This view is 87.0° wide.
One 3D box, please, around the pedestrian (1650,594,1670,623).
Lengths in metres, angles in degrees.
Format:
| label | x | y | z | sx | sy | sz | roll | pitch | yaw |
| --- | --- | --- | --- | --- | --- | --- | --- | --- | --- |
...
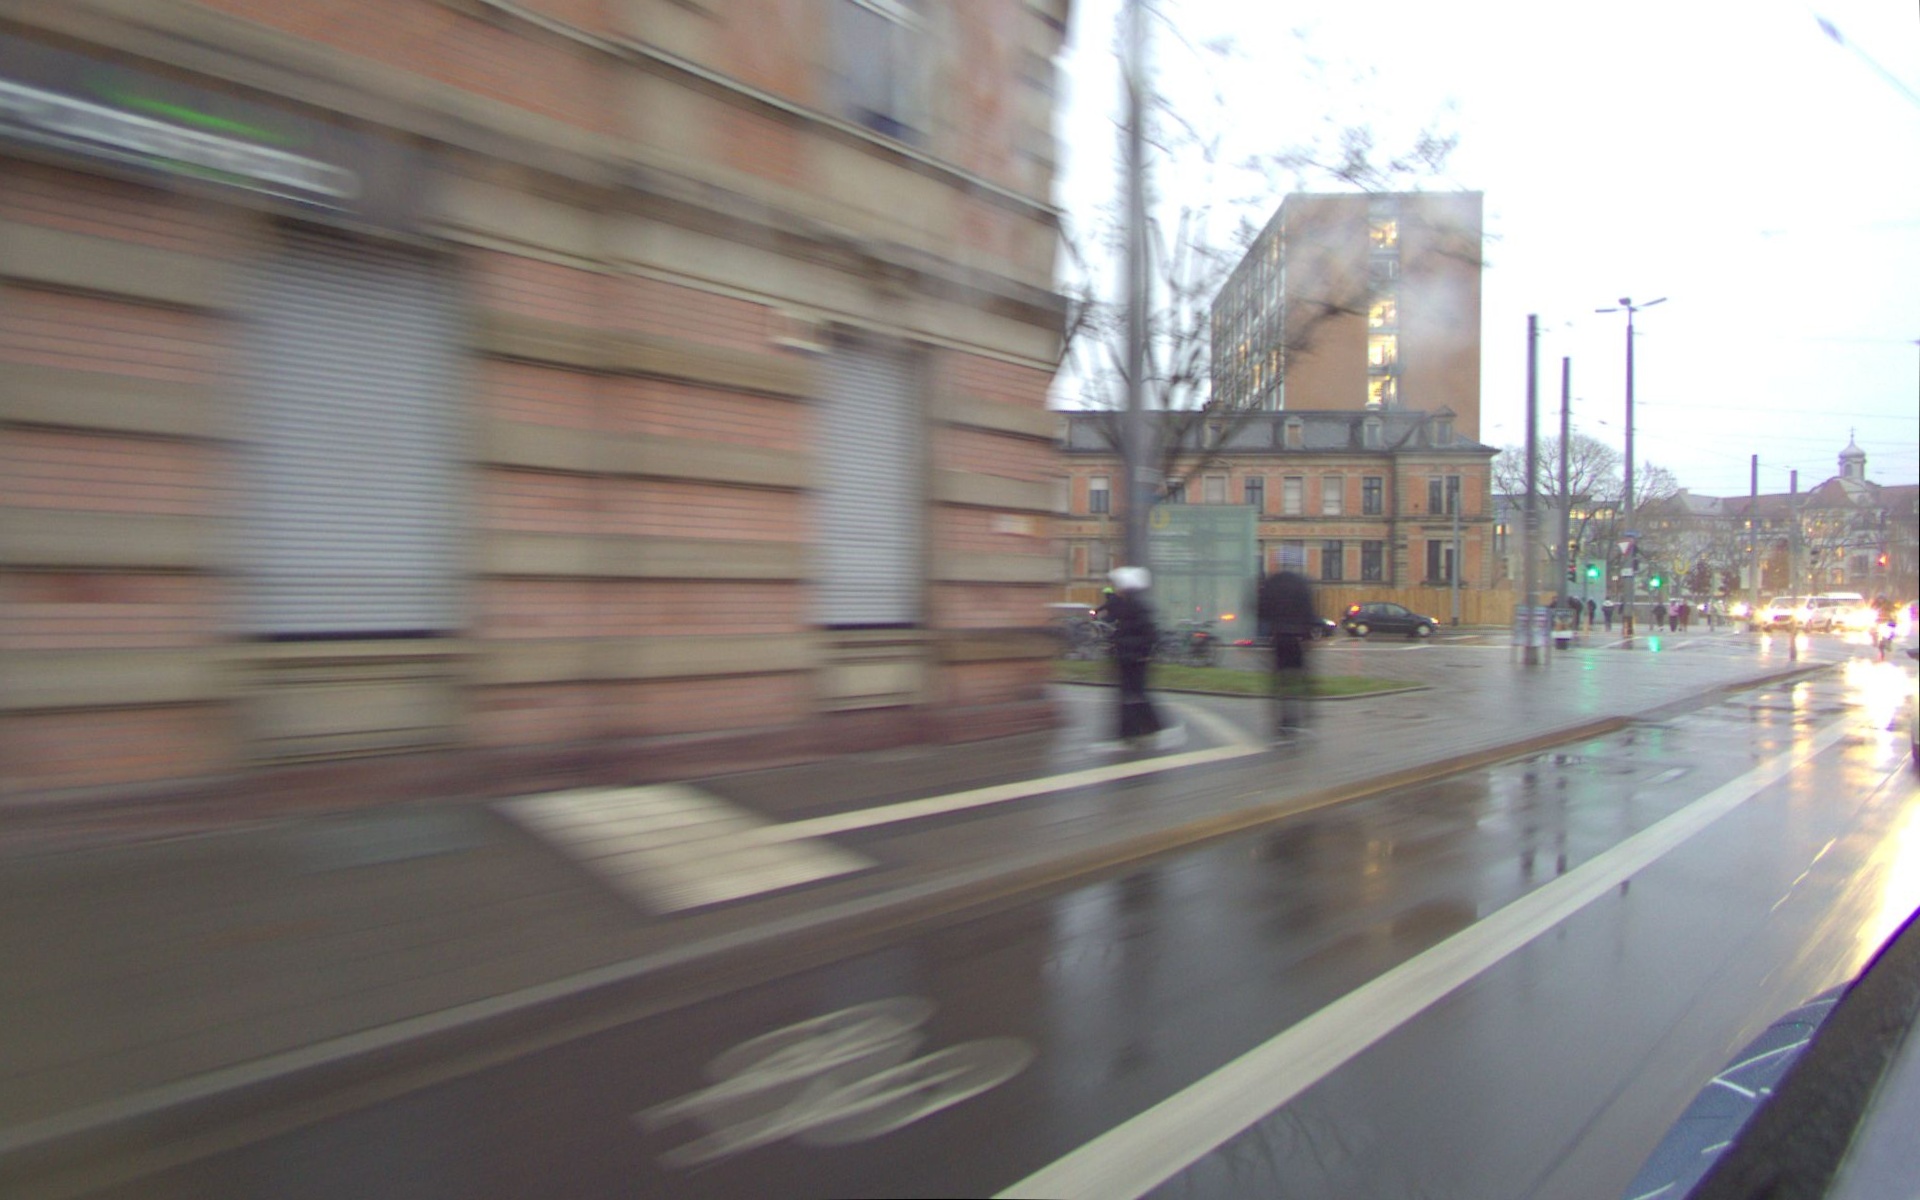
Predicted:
| label | x | y | z | sx | sy | sz | roll | pitch | yaw |
| --- | --- | --- | --- | --- | --- | --- | --- | --- | --- |
| pedestrian | 39.345 | 0.467 | 56.911 | 0.699 | 1.640 | 0.745 | 0 | 0 | 15 |

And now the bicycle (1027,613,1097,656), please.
| label | x | y | z | sx | sy | sz | roll | pitch | yaw |
| --- | --- | --- | --- | --- | --- | --- | --- | --- | --- |
| bicycle | 2.458 | 0.812 | 24.238 | 1.909 | 0.965 | 0.455 | 0 | 0 | -40 |

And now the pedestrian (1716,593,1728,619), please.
| label | x | y | z | sx | sy | sz | roll | pitch | yaw |
| --- | --- | --- | --- | --- | --- | --- | --- | --- | --- |
| pedestrian | 52.345 | 0.395 | 69.517 | 0.634 | 1.784 | 0.504 | 0 | 0 | 36 |

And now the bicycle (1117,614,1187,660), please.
| label | x | y | z | sx | sy | sz | roll | pitch | yaw |
| --- | --- | --- | --- | --- | --- | --- | --- | --- | --- |
| bicycle | 4.319 | 0.813 | 22.685 | 1.909 | 0.965 | 0.455 | 0 | 0 | -40 |

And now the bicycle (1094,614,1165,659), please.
| label | x | y | z | sx | sy | sz | roll | pitch | yaw |
| --- | --- | --- | --- | --- | --- | --- | --- | --- | --- |
| bicycle | 3.855 | 0.814 | 22.961 | 1.909 | 0.965 | 0.455 | 0 | 0 | -40 |

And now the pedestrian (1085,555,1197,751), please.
| label | x | y | z | sx | sy | sz | roll | pitch | yaw |
| --- | --- | --- | --- | --- | --- | --- | --- | --- | --- |
| pedestrian | 1.525 | 0.418 | 8.544 | 0.698 | 1.568 | 0.633 | 0 | 0 | -39 |

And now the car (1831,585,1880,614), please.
| label | x | y | z | sx | sy | sz | roll | pitch | yaw |
| --- | --- | --- | --- | --- | --- | --- | --- | --- | --- |
| car | 59.995 | -0.057 | 67.876 | 2.006 | 1.842 | 3.642 | 0 | 0 | 35 |

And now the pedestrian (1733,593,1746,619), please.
| label | x | y | z | sx | sy | sz | roll | pitch | yaw |
| --- | --- | --- | --- | --- | --- | --- | --- | --- | --- |
| pedestrian | 53.121 | 0.395 | 68.974 | 0.634 | 1.784 | 0.504 | 0 | 0 | 36 |

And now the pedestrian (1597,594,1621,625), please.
| label | x | y | z | sx | sy | sz | roll | pitch | yaw |
| --- | --- | --- | --- | --- | --- | --- | --- | --- | --- |
| pedestrian | 34.568 | 0.499 | 53.894 | 0.866 | 1.640 | 0.745 | 0 | 0 | 15 |

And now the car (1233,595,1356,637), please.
| label | x | y | z | sx | sy | sz | roll | pitch | yaw |
| --- | --- | --- | --- | --- | --- | --- | --- | --- | --- |
| car | 13.217 | 0.605 | 40.208 | 4.312 | 1.608 | 1.887 | 0 | 0 | 6 |

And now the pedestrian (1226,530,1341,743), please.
| label | x | y | z | sx | sy | sz | roll | pitch | yaw |
| --- | --- | --- | --- | --- | --- | --- | --- | --- | --- |
| pedestrian | 2.965 | 0.311 | 9.300 | 0.698 | 1.848 | 0.753 | 0 | 0 | -39 |

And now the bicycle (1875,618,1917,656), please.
| label | x | y | z | sx | sy | sz | roll | pitch | yaw |
| --- | --- | --- | --- | --- | --- | --- | --- | --- | --- |
| bicycle | 27.146 | 1.058 | 29.333 | 2.175 | 1.003 | 0.724 | 0 | 0 | -43 |

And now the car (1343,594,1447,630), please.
| label | x | y | z | sx | sy | sz | roll | pitch | yaw |
| --- | --- | --- | --- | --- | --- | --- | --- | --- | --- |
| car | 18.238 | 0.496 | 42.573 | 3.687 | 1.419 | 1.615 | -1 | 0 | 9 |

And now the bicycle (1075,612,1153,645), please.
| label | x | y | z | sx | sy | sz | roll | pitch | yaw |
| --- | --- | --- | --- | --- | --- | --- | --- | --- | --- |
| bicycle | 4.492 | 0.826 | 29.511 | 2.207 | 0.918 | 0.597 | 0 | 0 | 13 |

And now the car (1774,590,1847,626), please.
| label | x | y | z | sx | sy | sz | roll | pitch | yaw |
| --- | --- | --- | --- | --- | --- | --- | --- | --- | --- |
| car | 46.037 | 0.382 | 54.754 | 4.780 | 1.861 | 1.999 | 0 | 0 | -37 |

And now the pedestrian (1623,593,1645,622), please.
| label | x | y | z | sx | sy | sz | roll | pitch | yaw |
| --- | --- | --- | --- | --- | --- | --- | --- | --- | --- |
| pedestrian | 38.180 | 0.431 | 57.344 | 0.866 | 1.640 | 0.745 | 0 | 0 | 15 |

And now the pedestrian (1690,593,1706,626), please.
| label | x | y | z | sx | sy | sz | roll | pitch | yaw |
| --- | --- | --- | --- | --- | --- | --- | --- | --- | --- |
| pedestrian | 40.171 | 0.504 | 55.080 | 0.503 | 1.784 | 0.635 | 0 | 0 | 15 |

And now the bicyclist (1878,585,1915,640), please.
| label | x | y | z | sx | sy | sz | roll | pitch | yaw |
| --- | --- | --- | --- | --- | --- | --- | --- | --- | --- |
| bicyclist | 27.143 | 0.344 | 29.340 | 0.772 | 1.553 | 0.726 | 0 | 0 | -43 |

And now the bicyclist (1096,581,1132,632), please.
| label | x | y | z | sx | sy | sz | roll | pitch | yaw |
| --- | --- | --- | --- | --- | --- | --- | --- | --- | --- |
| bicyclist | 4.488 | 0.186 | 29.492 | 0.992 | 1.460 | 0.589 | 0 | 0 | 13 |

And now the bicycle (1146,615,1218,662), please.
| label | x | y | z | sx | sy | sz | roll | pitch | yaw |
| --- | --- | --- | --- | --- | --- | --- | --- | --- | --- |
| bicycle | 4.872 | 0.815 | 22.125 | 1.909 | 0.965 | 0.455 | 0 | 0 | -40 |

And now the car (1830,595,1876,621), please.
| label | x | y | z | sx | sy | sz | roll | pitch | yaw |
| --- | --- | --- | --- | --- | --- | --- | --- | --- | --- |
| car | 53.074 | 0.451 | 60.178 | 1.819 | 1.527 | 3.751 | 0 | 1 | 38 |

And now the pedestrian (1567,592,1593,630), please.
| label | x | y | z | sx | sy | sz | roll | pitch | yaw |
| --- | --- | --- | --- | --- | --- | --- | --- | --- | --- |
| pedestrian | 27.195 | 0.464 | 44.387 | 0.808 | 1.640 | 0.745 | 0 | 0 | 16 |

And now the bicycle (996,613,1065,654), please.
| label | x | y | z | sx | sy | sz | roll | pitch | yaw |
| --- | --- | --- | --- | --- | --- | --- | --- | --- | --- |
| bicycle | 1.758 | 0.810 | 25.011 | 1.909 | 0.965 | 0.455 | 0 | 0 | -40 |

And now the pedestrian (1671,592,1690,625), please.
| label | x | y | z | sx | sy | sz | roll | pitch | yaw |
| --- | --- | --- | --- | --- | --- | --- | --- | --- | --- |
| pedestrian | 39.918 | 0.475 | 56.075 | 0.640 | 1.845 | 0.635 | 0 | 0 | 15 |

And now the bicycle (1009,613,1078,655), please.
| label | x | y | z | sx | sy | sz | roll | pitch | yaw |
| --- | --- | --- | --- | --- | --- | --- | --- | --- | --- |
| bicycle | 2.050 | 0.814 | 24.569 | 1.909 | 0.965 | 0.455 | 0 | 0 | -40 |

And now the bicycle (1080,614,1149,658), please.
| label | x | y | z | sx | sy | sz | roll | pitch | yaw |
| --- | --- | --- | --- | --- | --- | --- | --- | --- | --- |
| bicycle | 3.597 | 0.814 | 23.456 | 1.909 | 0.965 | 0.455 | 0 | 0 | -40 |

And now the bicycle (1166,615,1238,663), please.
| label | x | y | z | sx | sy | sz | roll | pitch | yaw |
| --- | --- | --- | --- | --- | --- | --- | --- | --- | --- |
| bicycle | 5.214 | 0.815 | 21.709 | 1.909 | 0.965 | 0.455 | 0 | 0 | -40 |

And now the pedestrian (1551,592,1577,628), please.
| label | x | y | z | sx | sy | sz | roll | pitch | yaw |
| --- | --- | --- | --- | --- | --- | --- | --- | --- | --- |
| pedestrian | 28.914 | 0.465 | 48.475 | 0.734 | 1.697 | 0.820 | 0 | 0 | -32 |
